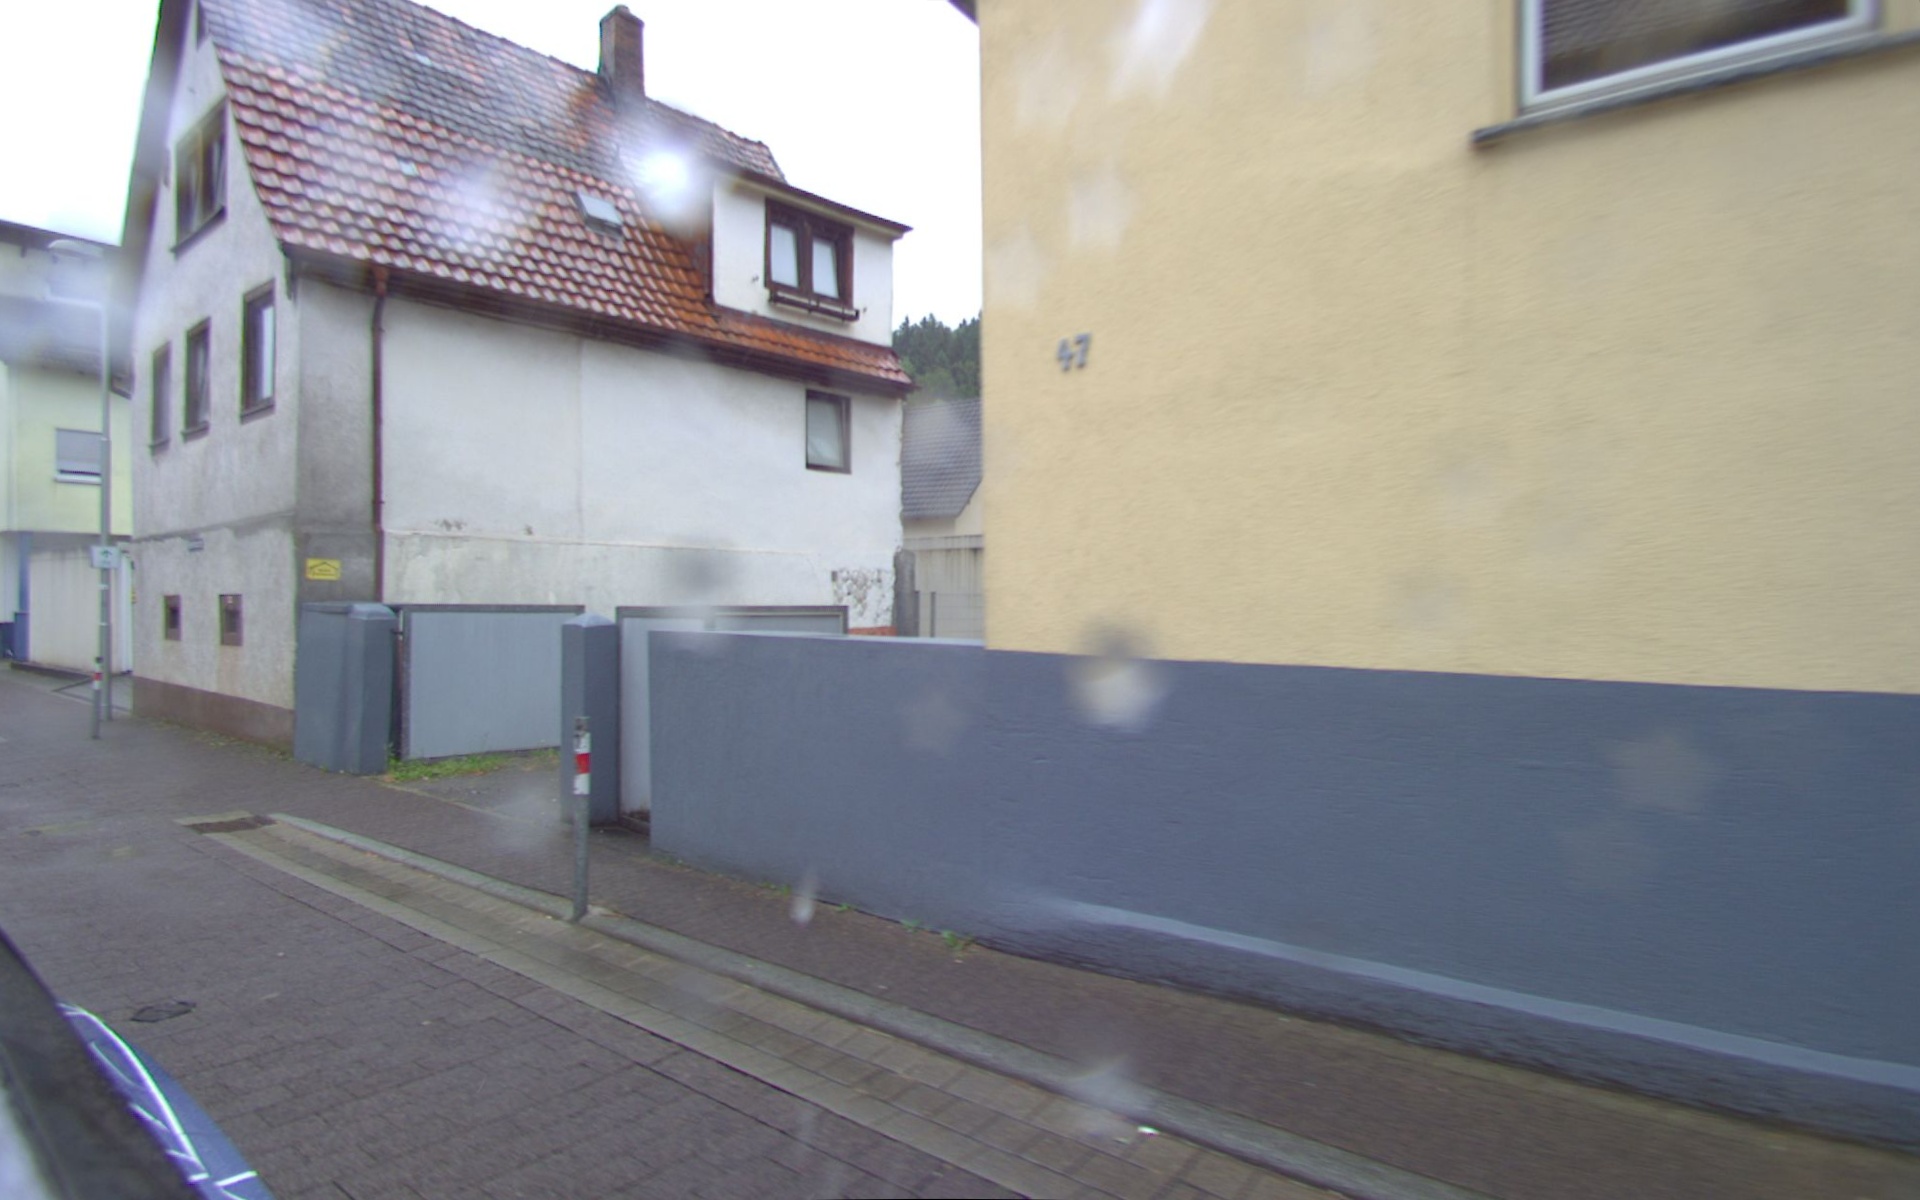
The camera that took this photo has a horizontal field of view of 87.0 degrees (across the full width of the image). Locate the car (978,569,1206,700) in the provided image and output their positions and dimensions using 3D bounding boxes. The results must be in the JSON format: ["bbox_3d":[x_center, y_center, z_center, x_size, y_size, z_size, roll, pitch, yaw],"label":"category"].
[{"bbox_3d":[2.294,0.447,16.578,2.030,1.733,4.165,-1,3,34],"label":"car"}]
